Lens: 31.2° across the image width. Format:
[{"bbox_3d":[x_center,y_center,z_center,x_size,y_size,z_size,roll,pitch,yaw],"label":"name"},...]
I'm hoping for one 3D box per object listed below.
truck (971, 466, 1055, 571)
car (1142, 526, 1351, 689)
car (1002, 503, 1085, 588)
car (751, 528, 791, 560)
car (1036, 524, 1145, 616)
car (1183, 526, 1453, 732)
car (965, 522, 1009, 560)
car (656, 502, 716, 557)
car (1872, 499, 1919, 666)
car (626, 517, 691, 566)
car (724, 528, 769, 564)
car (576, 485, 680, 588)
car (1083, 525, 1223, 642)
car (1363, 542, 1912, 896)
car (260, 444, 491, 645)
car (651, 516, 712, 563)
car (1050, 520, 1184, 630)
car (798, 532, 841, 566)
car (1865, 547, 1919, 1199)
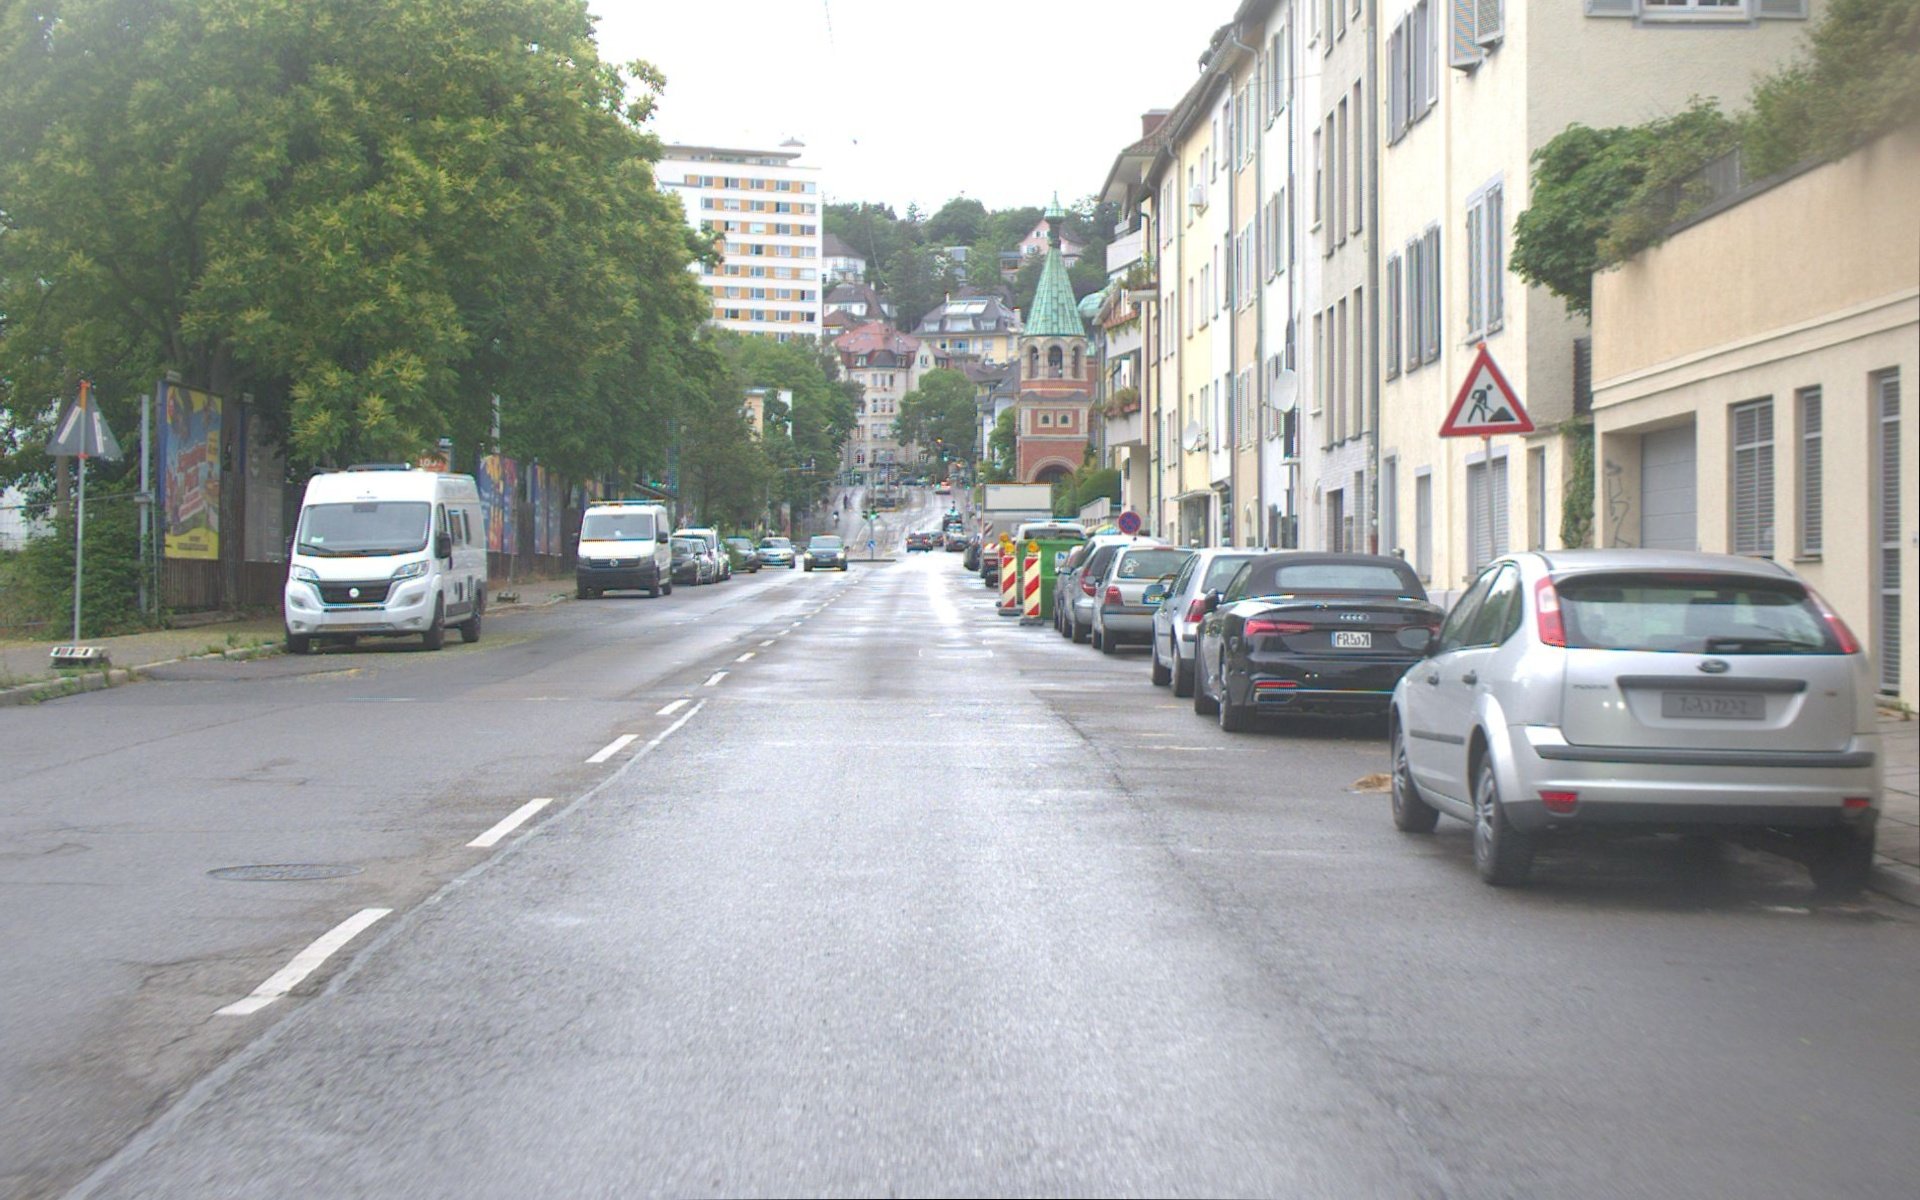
[{"bbox_3d":[1.609,-2.517,107.210,2.469,3.161,7.036,0,1,0],"label":"truck"},{"bbox_3d":[2.758,0.030,33.807,1.629,1.449,3.760,1,2,-1],"label":"car"},{"bbox_3d":[1.947,-1.302,81.141,1.817,1.917,4.239,-1,1,0],"label":"car"},{"bbox_3d":[-8.720,-2.558,158.618,1.709,1.445,4.295,-1,1,-2],"label":"car"},{"bbox_3d":[2.155,-0.528,57.539,1.626,1.406,3.842,1,2,0],"label":"car"},{"bbox_3d":[2.763,0.174,27.234,1.629,1.449,3.760,1,2,-1],"label":"car"},{"bbox_3d":[1.190,-2.639,153.069,1.817,1.647,4.076,1,1,-1],"label":"car"},{"bbox_3d":[-9.199,-2.357,115.696,1.723,1.794,4.344,-1,1,-1],"label":"car"},{"bbox_3d":[9.014,-0.124,27.864,1.886,1.396,4.204,0,1,-4],"label":"car"},{"bbox_3d":[-8.974,-1.744,102.536,1.682,1.394,3.911,-1,1,-2],"label":"car"},{"bbox_3d":[-8.881,-2.254,143.415,1.803,1.445,4.658,-1,1,-3],"label":"car"},{"bbox_3d":[-8.374,-1.637,87.116,2.012,2.478,5.984,-1,2,0],"label":"car"},{"bbox_3d":[2.566,-0.257,46.390,1.558,1.449,3.760,1,2,-1],"label":"car"},{"bbox_3d":[3.098,0.487,16.568,1.688,1.449,4.235,1,0,-1],"label":"car"},{"bbox_3d":[-8.114,-0.820,48.400,2.230,2.570,6.538,-2,2,-2],"label":"car"},{"bbox_3d":[-8.828,-1.917,109.348,1.682,1.457,4.277,-1,1,-2],"label":"car"},{"bbox_3d":[2.329,-0.403,51.822,1.716,1.519,4.001,1,2,-1],"label":"car"},{"bbox_3d":[-5.948,-2.152,145.631,1.805,1.411,4.384,0,1,-2],"label":"car"},{"bbox_3d":[3.014,0.686,5.878,1.688,1.449,4.236,1,2,-1],"label":"car"}]
